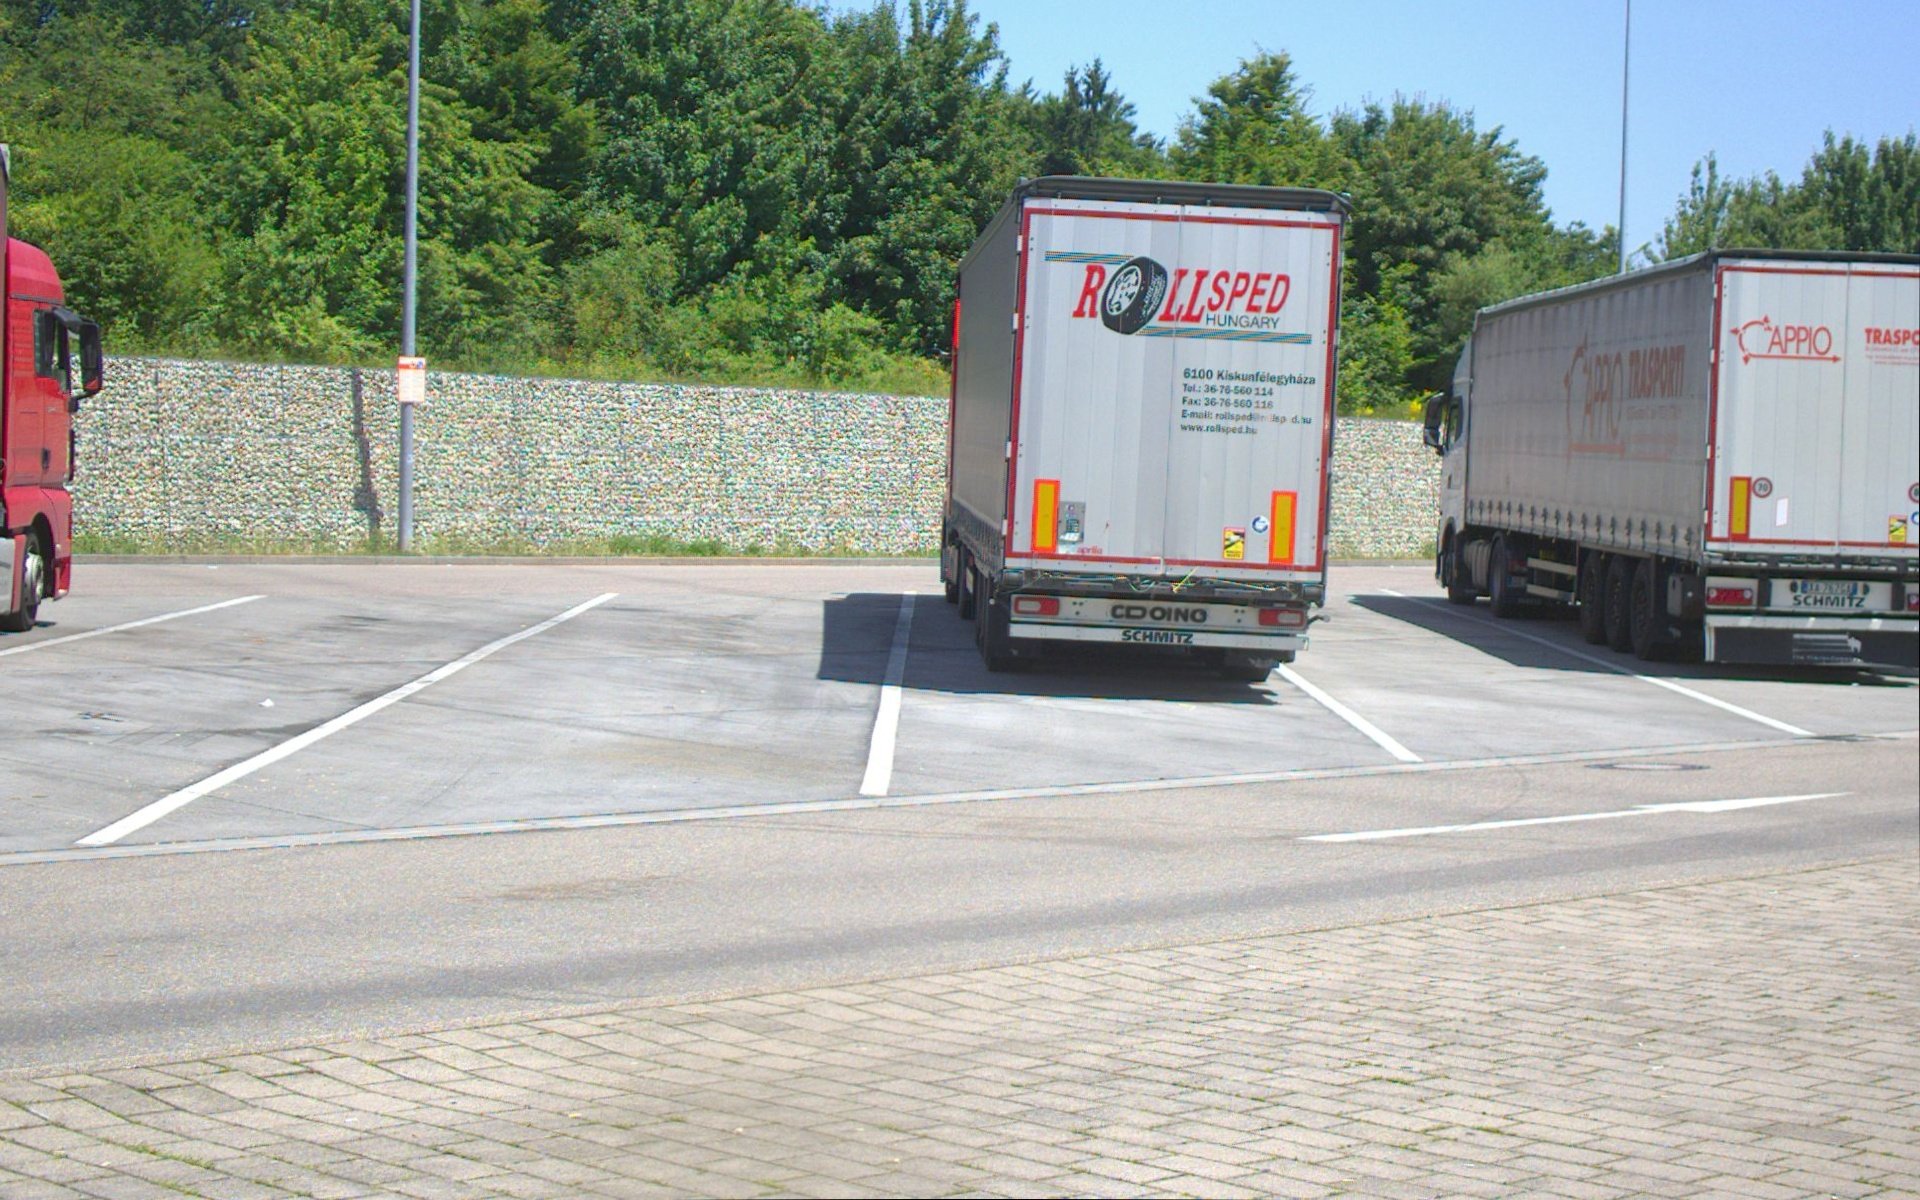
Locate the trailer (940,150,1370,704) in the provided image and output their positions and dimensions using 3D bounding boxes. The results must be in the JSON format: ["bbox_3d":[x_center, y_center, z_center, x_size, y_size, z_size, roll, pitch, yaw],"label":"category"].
[{"bbox_3d":[1.448,-1.623,33.179,2.906,4.118,13.725,2,3,-1],"label":"trailer"}]

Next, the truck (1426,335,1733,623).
[{"bbox_3d":[8.073,-1.626,45.481,2.852,3.472,5.483,2,2,-1],"label":"truck"}]

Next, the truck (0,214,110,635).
[{"bbox_3d":[-9.229,-1.505,28.723,2.852,3.416,5.483,2,2,-1],"label":"truck"}]

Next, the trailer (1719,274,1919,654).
[{"bbox_3d":[11.802,-1.532,39.420,2.838,4.118,13.724,2,3,-1],"label":"trailer"}]

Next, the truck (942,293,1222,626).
[{"bbox_3d":[1.300,-1.630,39.792,2.852,3.472,5.483,2,2,-1],"label":"truck"}]

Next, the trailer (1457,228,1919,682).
[{"bbox_3d":[8.165,-1.629,38.668,2.838,4.118,13.724,2,3,-1],"label":"trailer"}]

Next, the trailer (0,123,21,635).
[{"bbox_3d":[-9.139,-1.491,21.284,2.906,4.118,13.725,2,3,-1],"label":"trailer"}]
